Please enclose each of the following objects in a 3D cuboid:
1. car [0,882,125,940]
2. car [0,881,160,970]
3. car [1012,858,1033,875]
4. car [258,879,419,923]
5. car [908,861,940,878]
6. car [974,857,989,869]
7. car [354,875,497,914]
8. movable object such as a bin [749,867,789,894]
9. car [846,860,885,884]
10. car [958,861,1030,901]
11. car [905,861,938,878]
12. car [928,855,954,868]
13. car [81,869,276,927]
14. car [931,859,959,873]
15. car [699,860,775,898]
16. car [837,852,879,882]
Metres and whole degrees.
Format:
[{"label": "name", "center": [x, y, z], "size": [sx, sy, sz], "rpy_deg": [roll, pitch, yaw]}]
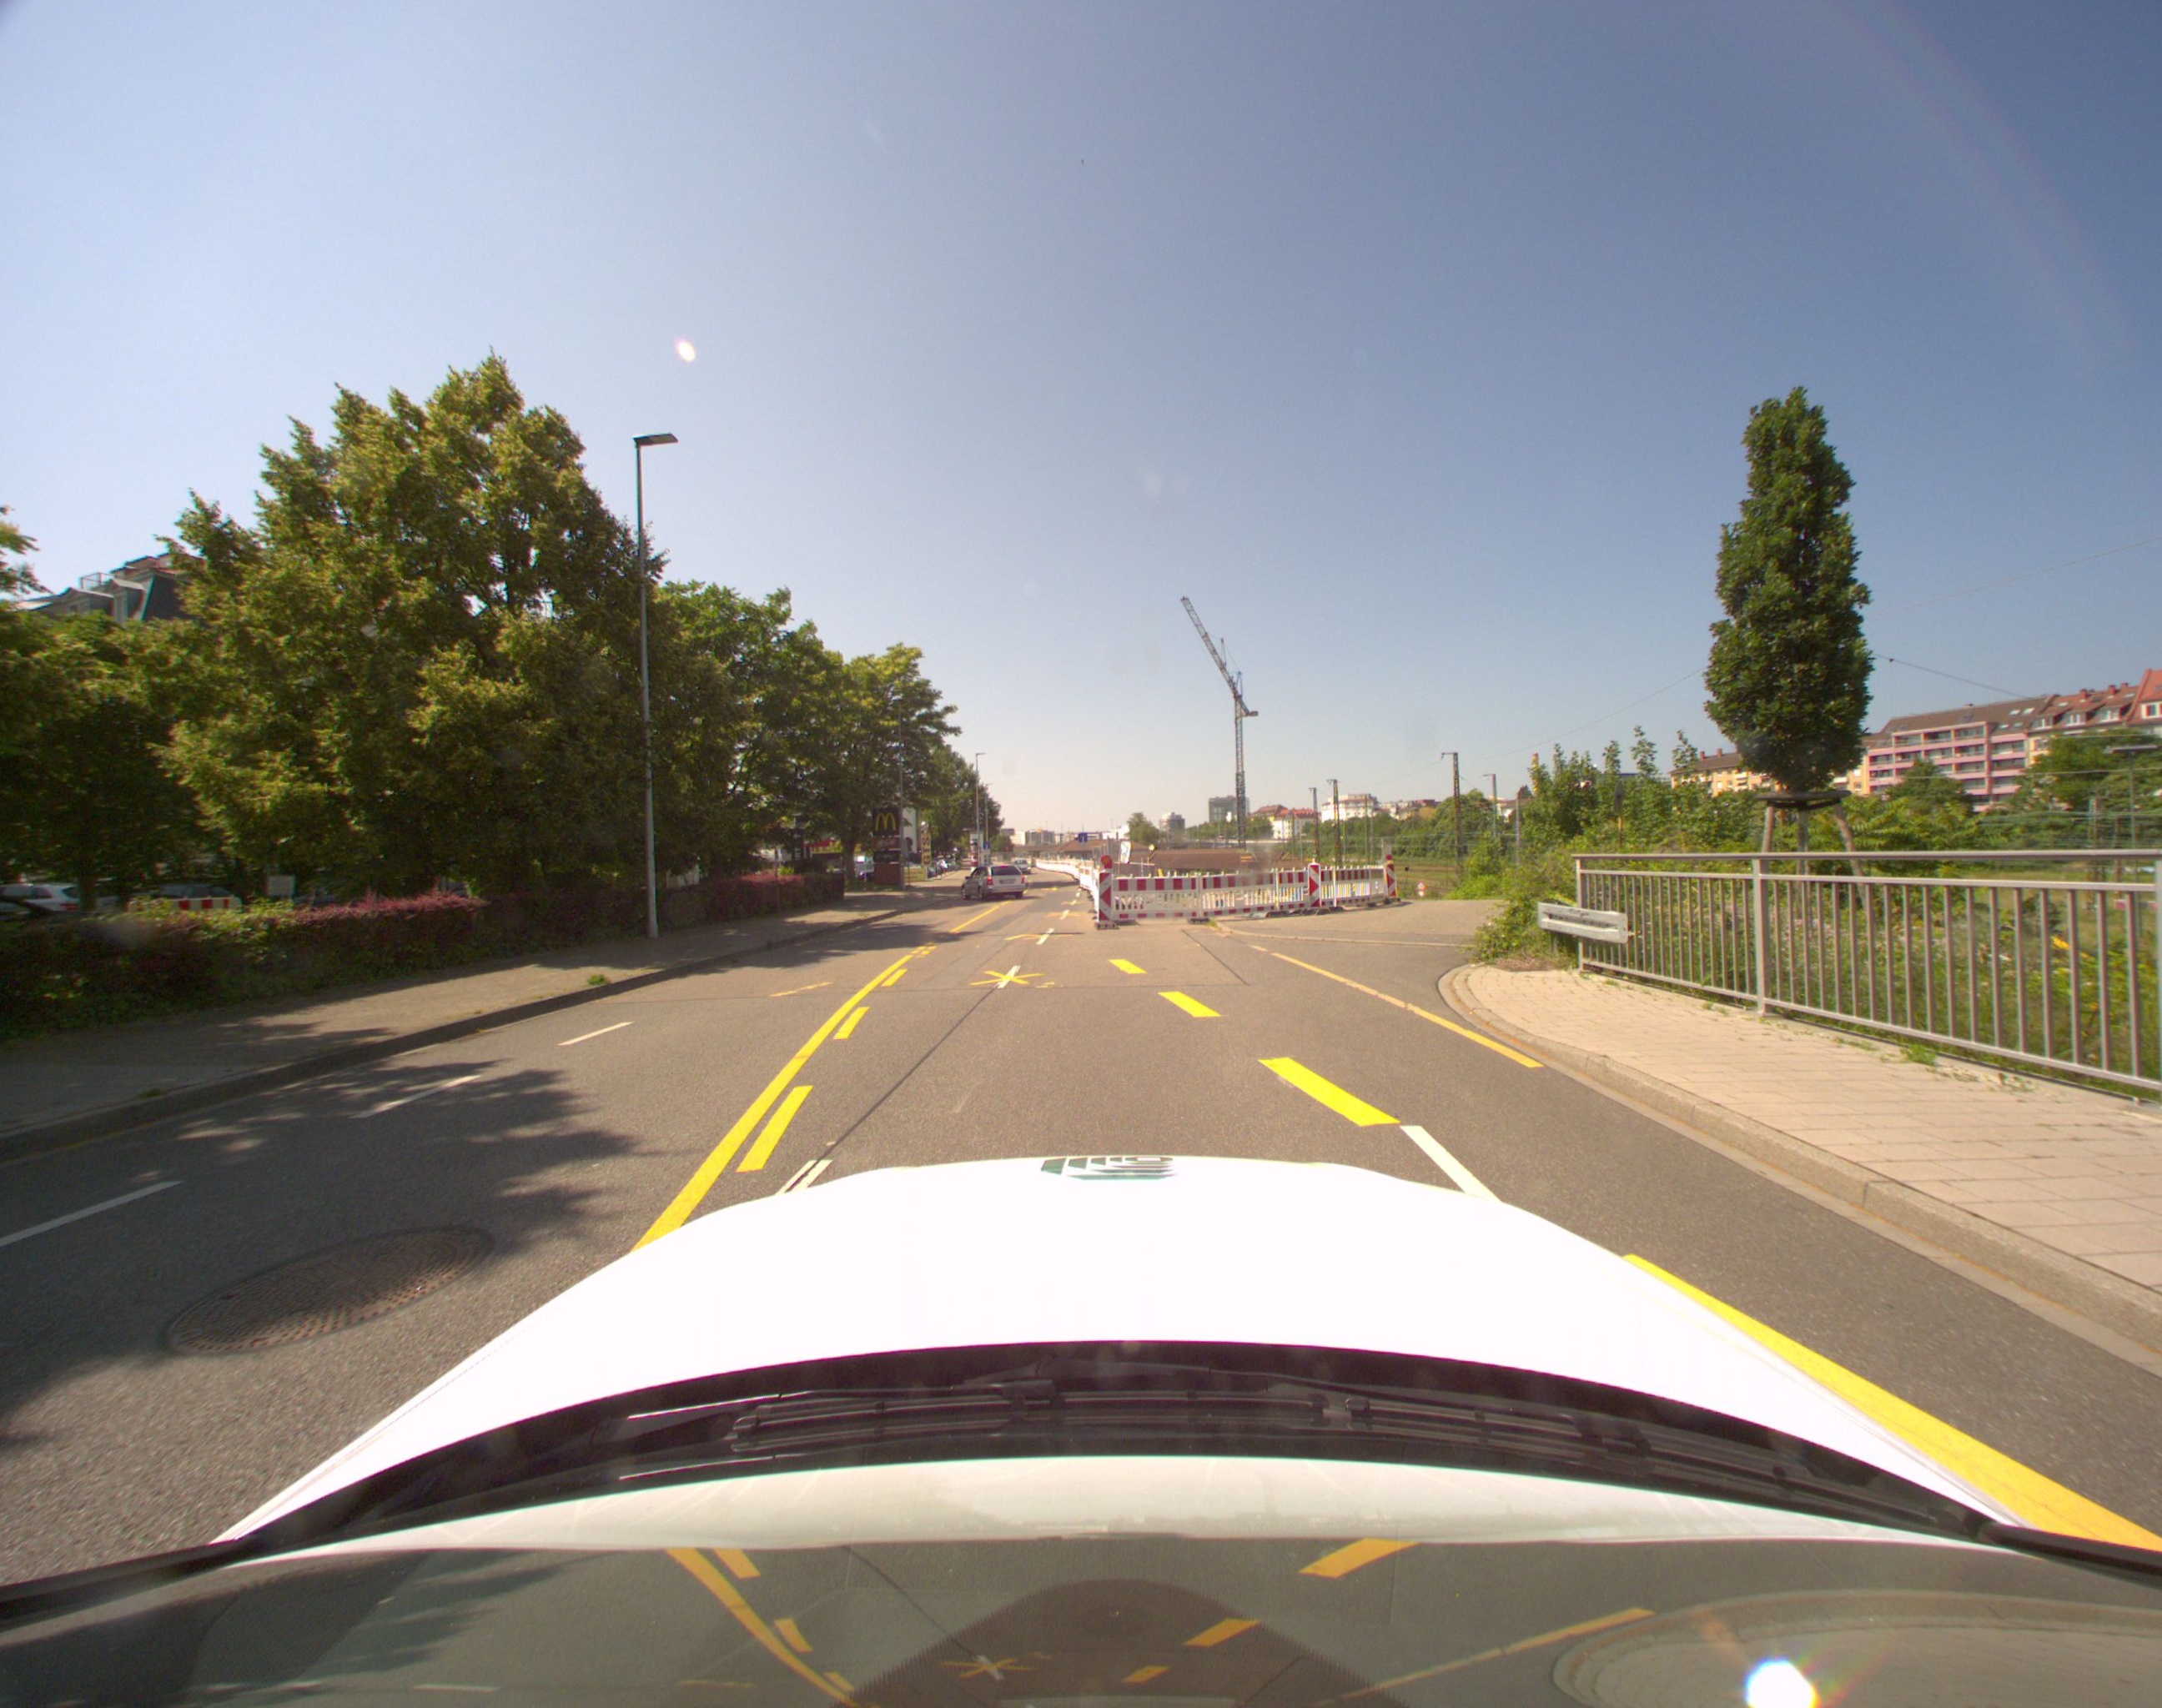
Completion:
[{"label": "car", "center": [-31.460, 1.694, 24.101], "size": [3.841, 1.588, 1.636], "rpy_deg": [-1, 0, -13]}, {"label": "car", "center": [-20.863, 1.378, 14.944], "size": [2.059, 1.560, 5.033], "rpy_deg": [-2, 0, 3]}, {"label": "car", "center": [-5.574, 1.159, 77.059], "size": [1.676, 1.493, 4.594], "rpy_deg": [-3, 0, -7]}, {"label": "car", "center": [-27.037, 1.695, 29.782], "size": [4.060, 1.395, 1.621], "rpy_deg": [-1, 0, -12]}, {"label": "car", "center": [-16.266, 1.598, 84.227], "size": [1.792, 1.473, 3.959], "rpy_deg": [-5, 1, -32]}, {"label": "car", "center": [-14.262, 1.239, 117.066], "size": [1.865, 1.498, 4.027], "rpy_deg": [-3, 1, -3]}, {"label": "car", "center": [-26.347, 1.592, 32.856], "size": [4.084, 1.387, 1.763], "rpy_deg": [-1, 0, -12]}, {"label": "movable object such as a bin", "center": [-19.795, 1.670, 51.706], "size": [1.755, 1.526, 1.463], "rpy_deg": [-4, 2, 19]}, {"label": "car", "center": [-17.576, 1.514, 66.344], "size": [2.055, 1.707, 4.274], "rpy_deg": [-3, -1, -29]}, {"label": "car", "center": [-3.593, 1.050, 32.973], "size": [1.715, 1.403, 4.354], "rpy_deg": [-4, 0, -22]}, {"label": "car", "center": [-15.432, 1.505, 78.765], "size": [1.848, 1.473, 3.962], "rpy_deg": [-5, 1, -29]}, {"label": "car", "center": [-22.005, 1.177, 127.915], "size": [3.928, 1.959, 1.751], "rpy_deg": [-1, 0, -14]}, {"label": "car", "center": [-29.890, 1.425, 27.101], "size": [4.013, 1.732, 1.795], "rpy_deg": [-1, 0, -12]}, {"label": "car", "center": [-16.908, 1.456, 101.019], "size": [1.789, 1.473, 3.957], "rpy_deg": [-5, 1, -34]}, {"label": "car", "center": [-21.091, 1.536, 49.844], "size": [4.466, 1.920, 1.905], "rpy_deg": [-6, 1, 32]}, {"label": "car", "center": [-22.275, 1.271, 81.528], "size": [2.268, 2.758, 6.153], "rpy_deg": [-3, -1, 1]}]
